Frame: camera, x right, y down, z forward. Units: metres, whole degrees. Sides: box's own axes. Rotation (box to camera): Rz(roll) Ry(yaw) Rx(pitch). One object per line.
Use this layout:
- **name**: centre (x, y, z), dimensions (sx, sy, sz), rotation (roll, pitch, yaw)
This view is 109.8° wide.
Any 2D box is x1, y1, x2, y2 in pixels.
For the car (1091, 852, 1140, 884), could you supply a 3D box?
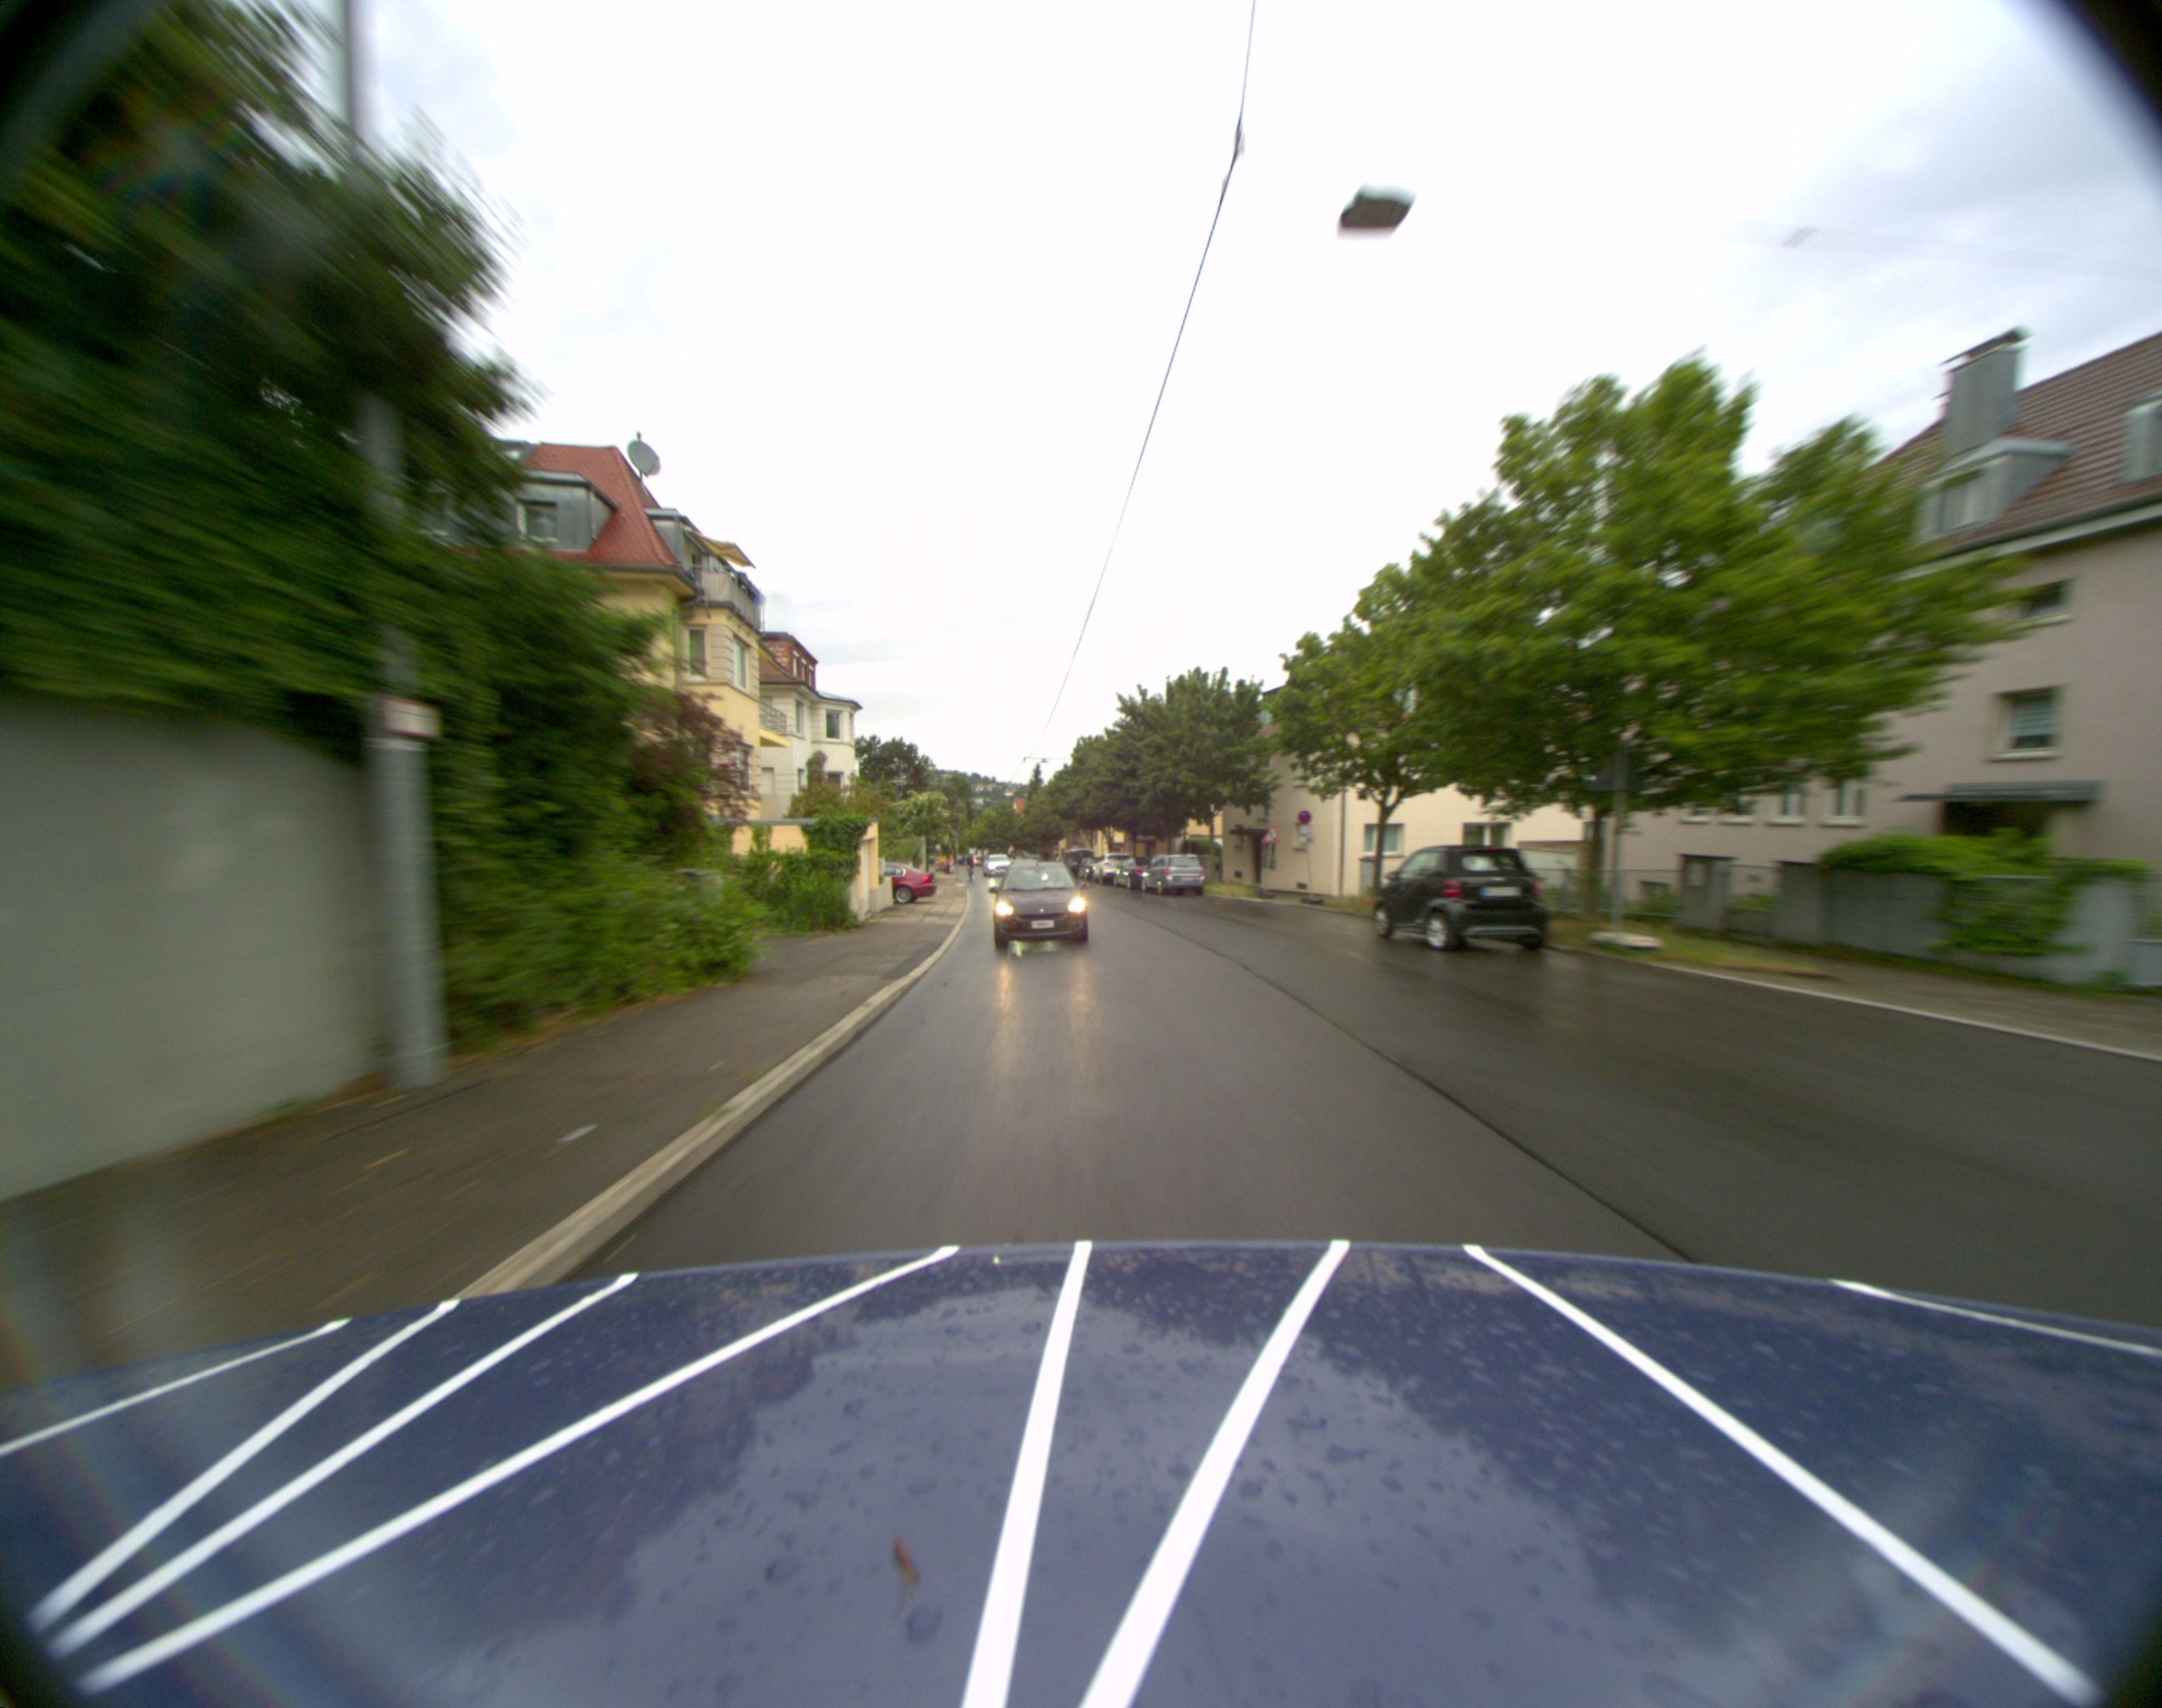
- **car**: centre (1.810, 0.725, 41.274), dimensions (1.814, 1.604, 4.505), rotation (1, 0, -8)

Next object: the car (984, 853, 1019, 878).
- **car**: centre (-6.058, 0.817, 57.402), dimensions (2.020, 1.728, 4.593), rotation (-3, 1, -12)

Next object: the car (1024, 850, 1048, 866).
- **car**: centre (-4.559, 0.377, 76.288), dimensions (1.911, 1.591, 4.084), rotation (-1, 1, -11)

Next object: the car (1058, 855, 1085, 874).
- **car**: centre (-0.761, 0.777, 59.579), dimensions (1.544, 1.365, 3.536), rotation (1, 0, -10)

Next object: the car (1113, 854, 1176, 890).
- **car**: centre (2.925, 0.790, 36.002), dimensions (1.828, 1.500, 4.734), rotation (0, 1, -10)

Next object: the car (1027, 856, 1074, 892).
- **car**: centre (-1.367, 0.884, 35.703), dimensions (1.746, 1.434, 4.238), rotation (-3, 1, 4)

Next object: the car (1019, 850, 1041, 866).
- **car**: centre (-5.435, 0.399, 80.734), dimensions (1.865, 1.563, 3.904), rotation (0, 1, -11)

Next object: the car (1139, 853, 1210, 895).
- **car**: centre (3.732, 0.768, 30.991), dimensions (1.723, 1.537, 4.290), rotation (1, 1, -9)

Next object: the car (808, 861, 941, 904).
- **car**: centre (-7.101, 0.967, 26.440), dimensions (4.182, 1.398, 1.833), rotation (1, 0, -4)

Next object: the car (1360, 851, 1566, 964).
- **car**: centre (5.800, 0.730, 11.925), dimensions (1.522, 1.526, 3.035), rotation (0, 1, -4)

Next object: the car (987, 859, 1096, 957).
- **car**: centre (-0.813, 0.915, 14.913), dimensions (1.747, 1.434, 4.356), rotation (-3, 1, -4)

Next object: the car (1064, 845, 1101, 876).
- **car**: centre (0.056, 0.424, 53.827), dimensions (1.824, 2.000, 4.557), rotation (1, 0, -10)

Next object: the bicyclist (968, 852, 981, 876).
- **bicyclist**: centre (-6.967, 0.656, 49.576), dimensions (0.685, 1.528, 0.784), rotation (-4, 2, -11)

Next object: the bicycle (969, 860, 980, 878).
- **bicycle**: centre (-6.944, 0.999, 49.532), dimensions (0.591, 1.093, 1.526), rotation (-3, 1, -11)

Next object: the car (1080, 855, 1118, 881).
- **car**: centre (1.071, 0.844, 47.475), dimensions (1.624, 1.433, 4.264), rotation (1, 0, -9)

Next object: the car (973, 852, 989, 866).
- **car**: centre (-14.912, 0.681, 112.713), dimensions (2.001, 2.002, 3.995), rotation (-1, 0, -12)
